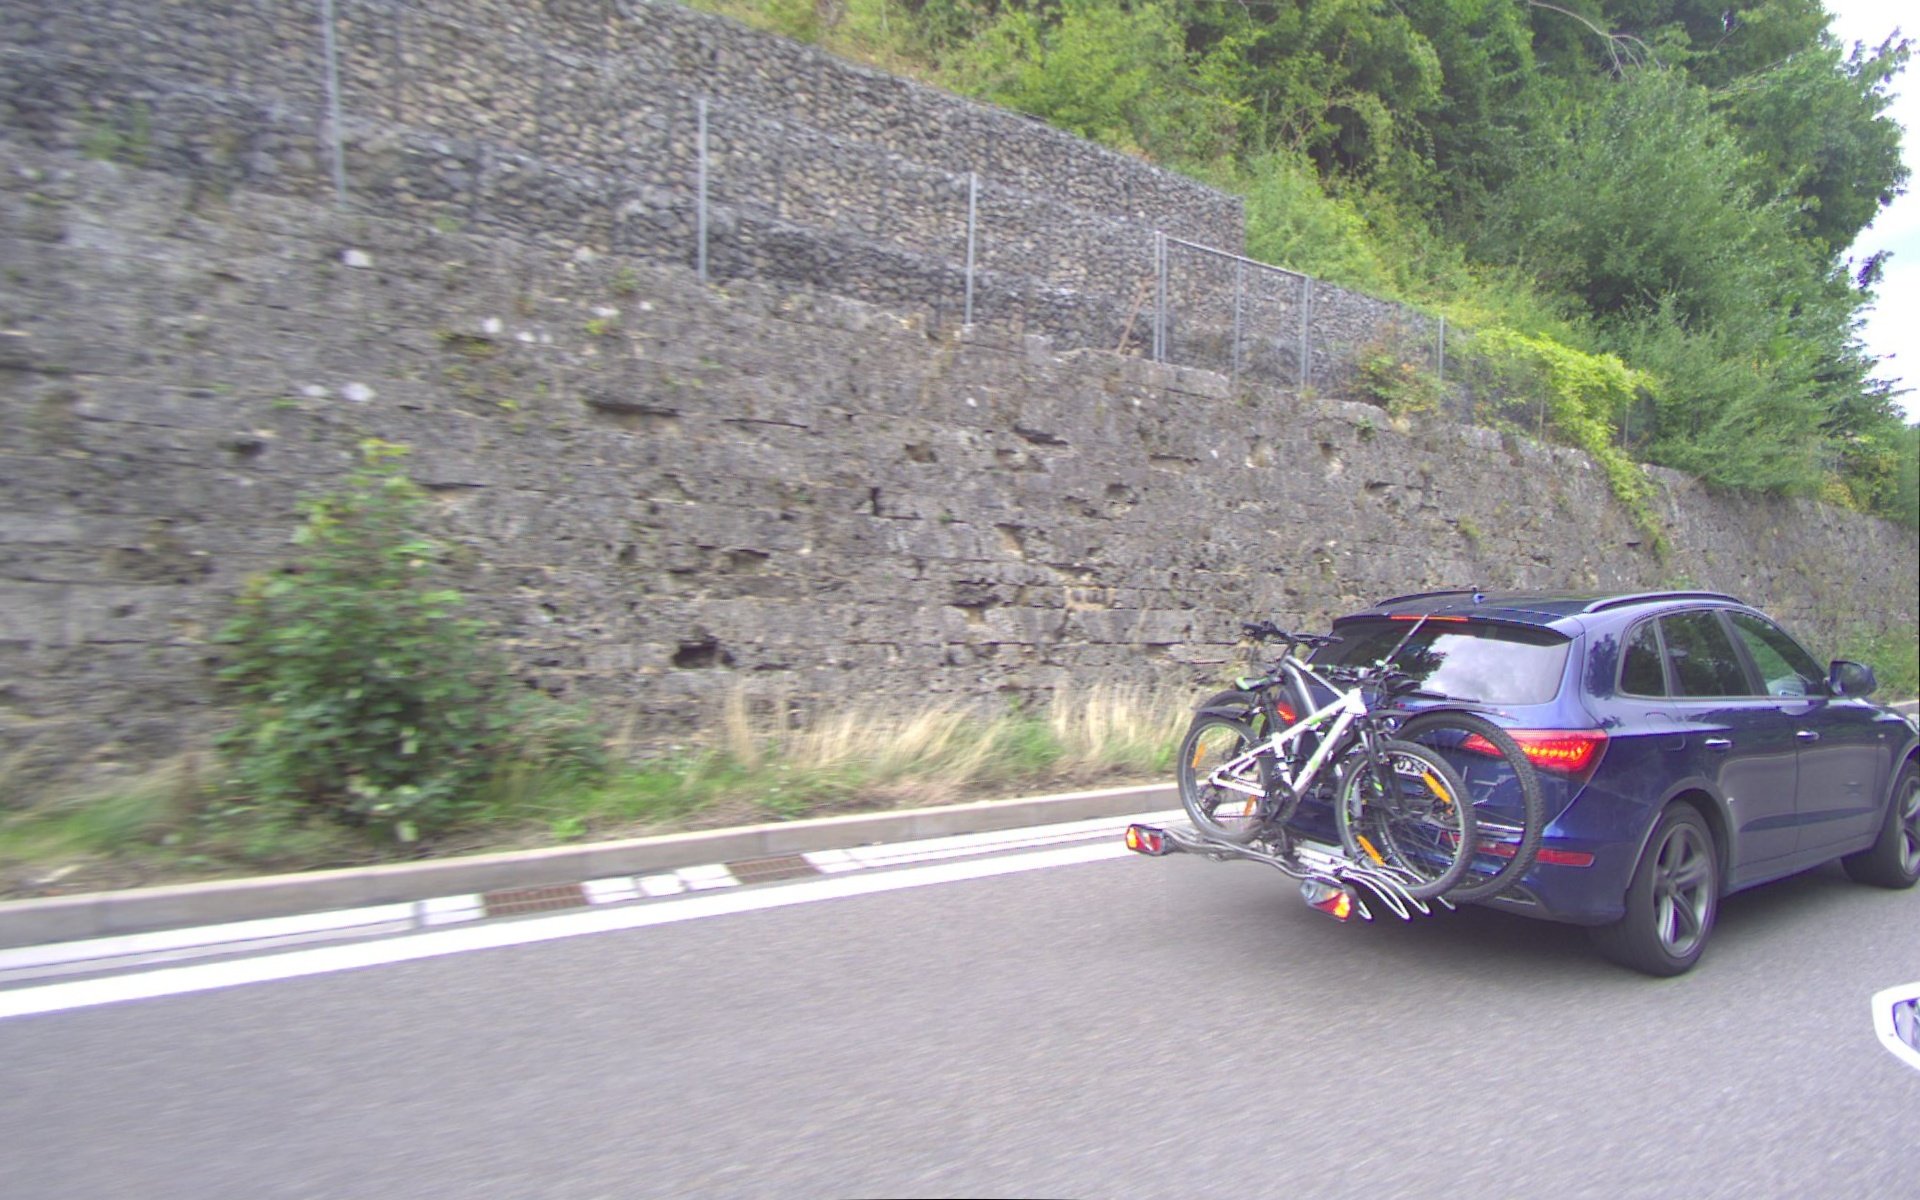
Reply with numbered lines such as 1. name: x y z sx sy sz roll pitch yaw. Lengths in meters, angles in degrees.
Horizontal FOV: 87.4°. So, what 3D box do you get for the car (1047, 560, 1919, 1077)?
1. car: 3.312 0.771 5.464 5.522 1.614 1.961 3 2 -31
